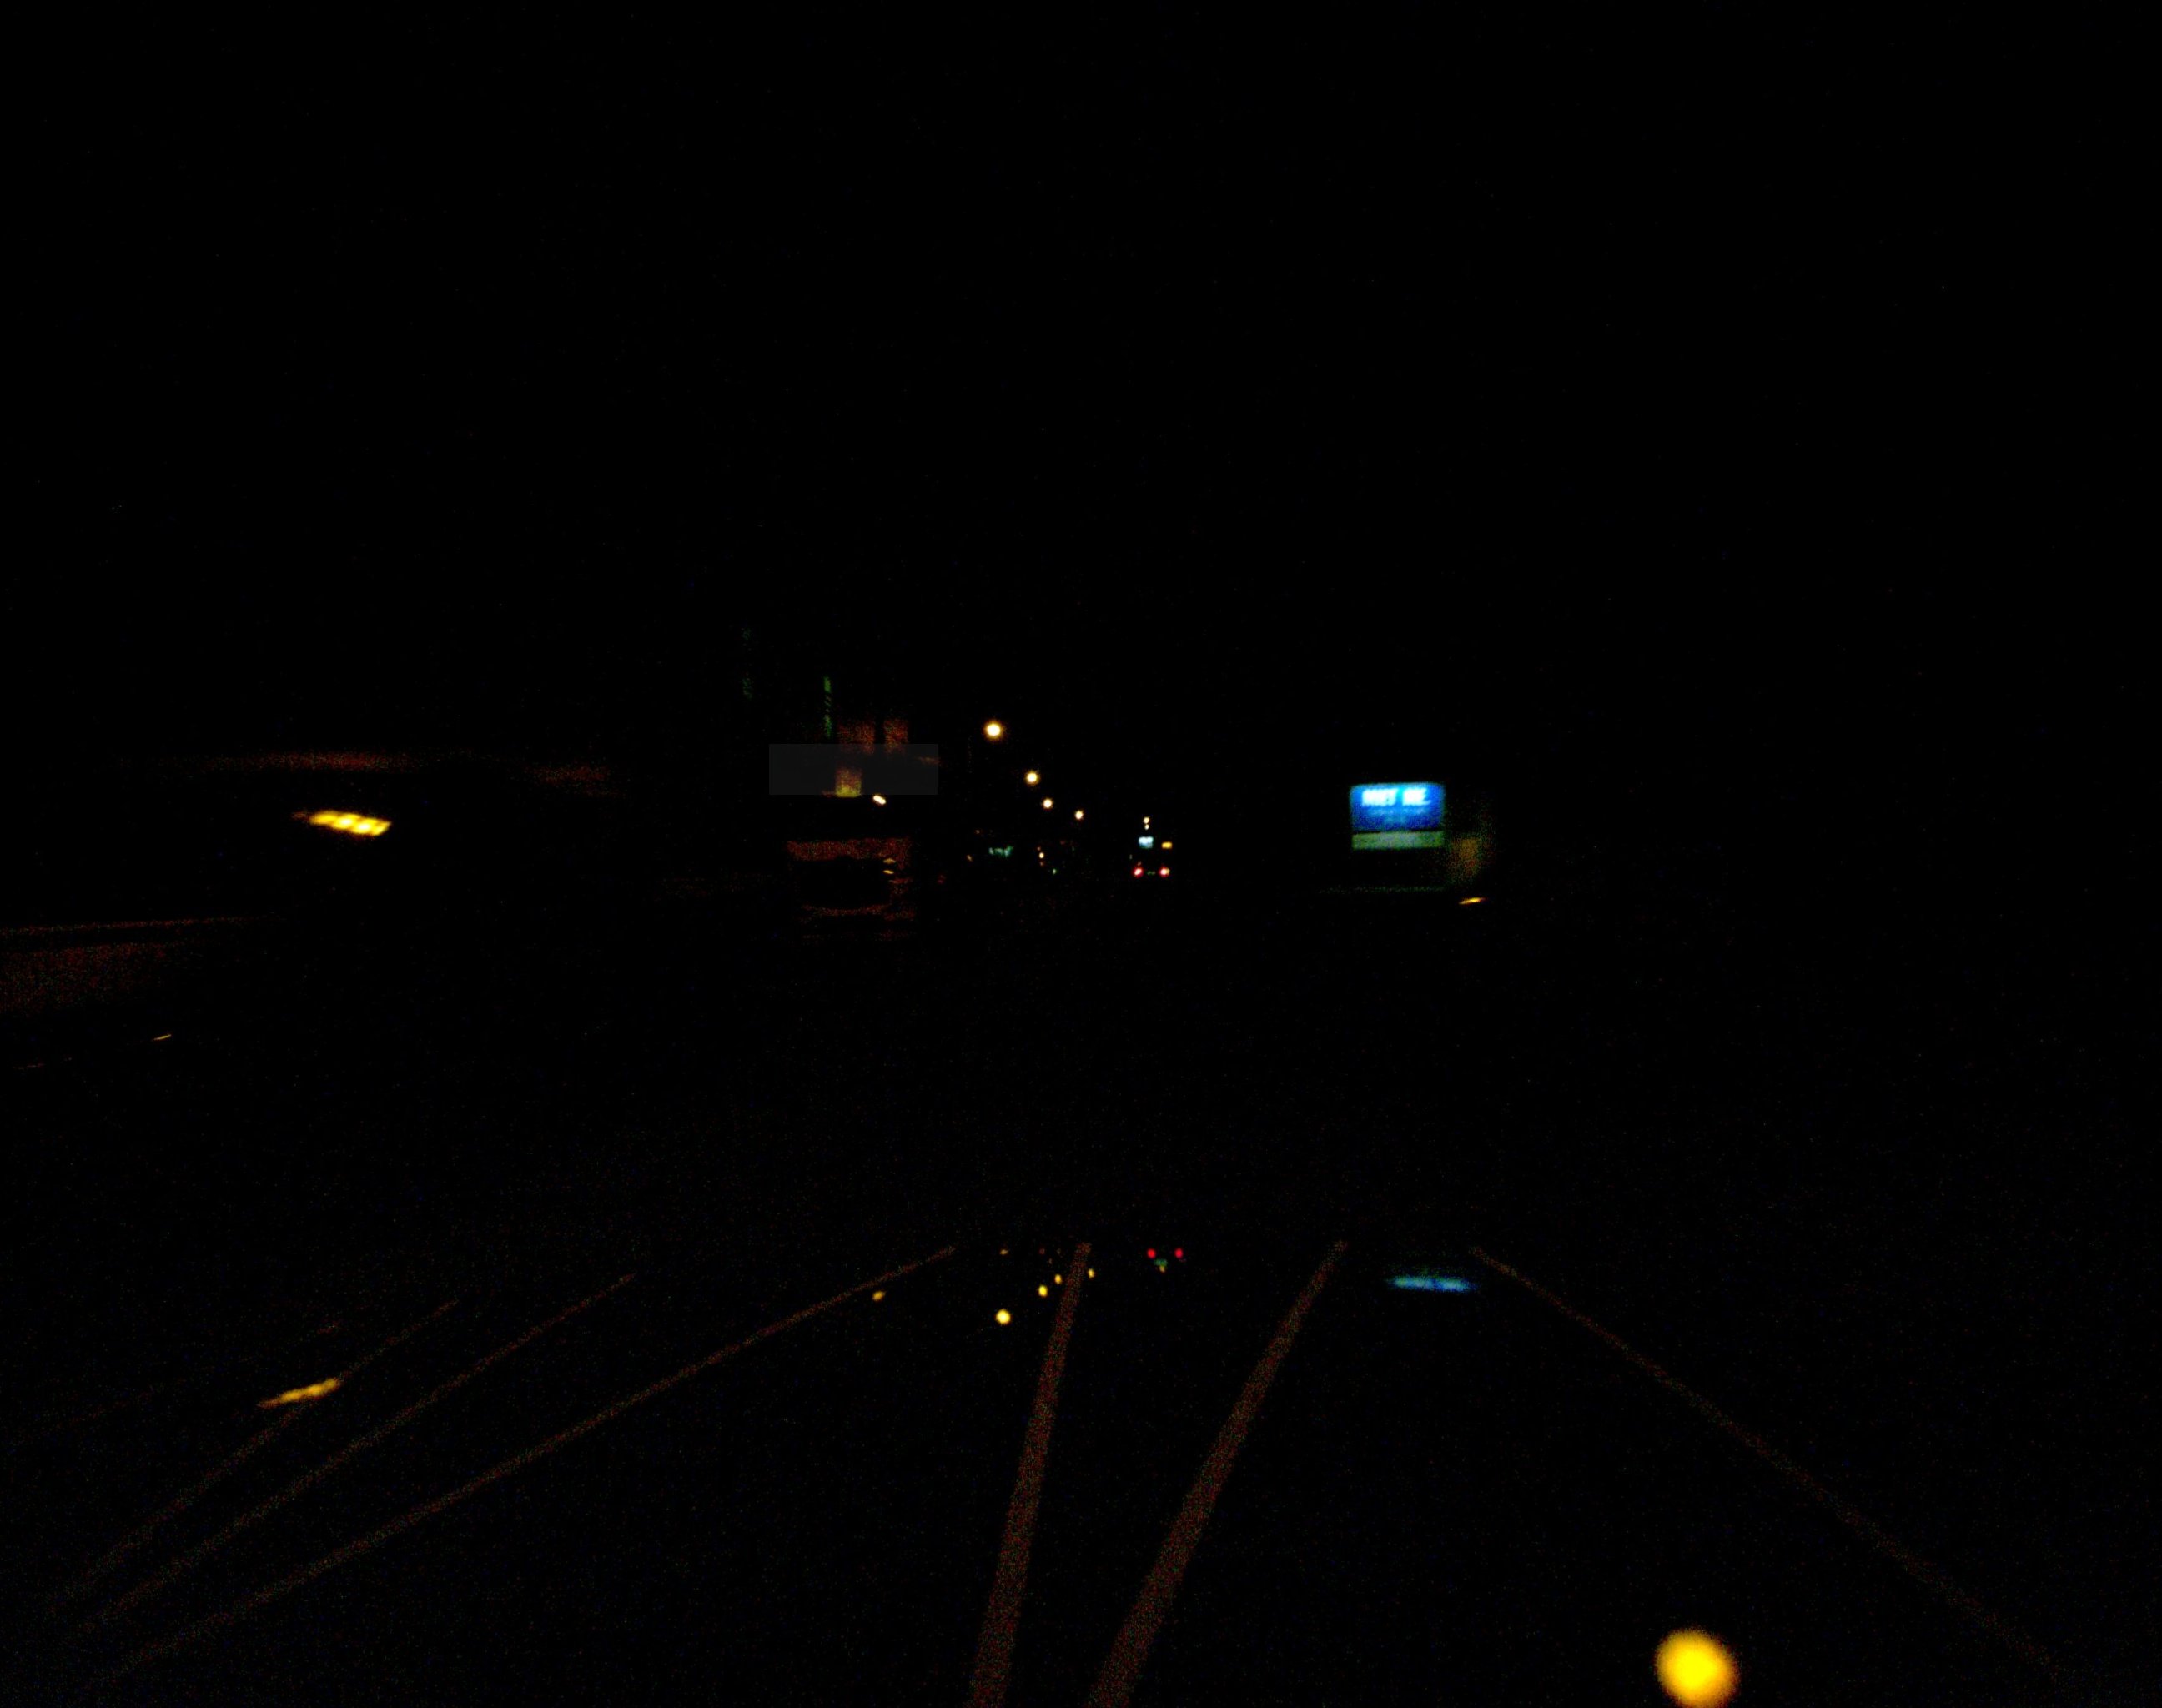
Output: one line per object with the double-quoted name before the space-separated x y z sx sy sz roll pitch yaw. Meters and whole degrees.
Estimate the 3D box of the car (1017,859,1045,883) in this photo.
"car" -3.534 1.206 54.339 1.685 1.551 3.476 -2 0 1

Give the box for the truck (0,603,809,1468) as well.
"truck" -4.350 0.561 5.103 2.407 2.579 6.597 -2 0 2

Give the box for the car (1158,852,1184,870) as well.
"car" 7.451 0.590 63.354 1.761 1.382 4.309 -2 0 2

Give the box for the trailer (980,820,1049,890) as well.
"trailer" -3.539 0.046 42.597 2.885 3.504 8.283 -2 0 1

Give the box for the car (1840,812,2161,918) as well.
"car" 16.578 0.170 13.355 4.410 1.644 1.922 -2 0 3

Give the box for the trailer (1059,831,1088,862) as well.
"trailer" -1.067 -1.202 120.371 3.072 4.449 13.414 -3 1 5

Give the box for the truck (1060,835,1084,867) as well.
"truck" -1.089 -0.270 102.158 2.660 3.851 10.233 -3 -2 1

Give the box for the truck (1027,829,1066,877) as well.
"truck" -3.081 -0.049 69.797 2.797 3.947 9.821 -3 0 1

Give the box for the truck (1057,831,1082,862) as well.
"truck" -1.673 -1.123 113.661 3.072 4.449 5.636 -3 1 5

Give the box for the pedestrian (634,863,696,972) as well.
"pedestrian" -6.514 0.971 11.923 0.575 1.640 0.689 0 1 0

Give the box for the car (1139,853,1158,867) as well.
"car" 7.300 0.627 82.366 1.690 1.357 3.879 -3 1 1

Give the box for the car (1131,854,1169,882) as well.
"car" 3.847 0.742 43.155 1.824 1.429 4.398 -2 0 1

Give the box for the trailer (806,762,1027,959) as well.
"trailer" -3.755 0.049 22.254 2.772 3.742 14.655 -3 1 1

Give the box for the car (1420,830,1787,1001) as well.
"car" 6.687 0.653 10.575 1.809 1.788 4.878 -2 0 1

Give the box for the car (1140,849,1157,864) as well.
"car" 7.808 0.291 88.206 1.590 1.591 3.781 -3 1 1

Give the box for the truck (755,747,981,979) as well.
"truck" -3.892 0.131 15.294 2.772 3.742 5.228 -3 1 1
